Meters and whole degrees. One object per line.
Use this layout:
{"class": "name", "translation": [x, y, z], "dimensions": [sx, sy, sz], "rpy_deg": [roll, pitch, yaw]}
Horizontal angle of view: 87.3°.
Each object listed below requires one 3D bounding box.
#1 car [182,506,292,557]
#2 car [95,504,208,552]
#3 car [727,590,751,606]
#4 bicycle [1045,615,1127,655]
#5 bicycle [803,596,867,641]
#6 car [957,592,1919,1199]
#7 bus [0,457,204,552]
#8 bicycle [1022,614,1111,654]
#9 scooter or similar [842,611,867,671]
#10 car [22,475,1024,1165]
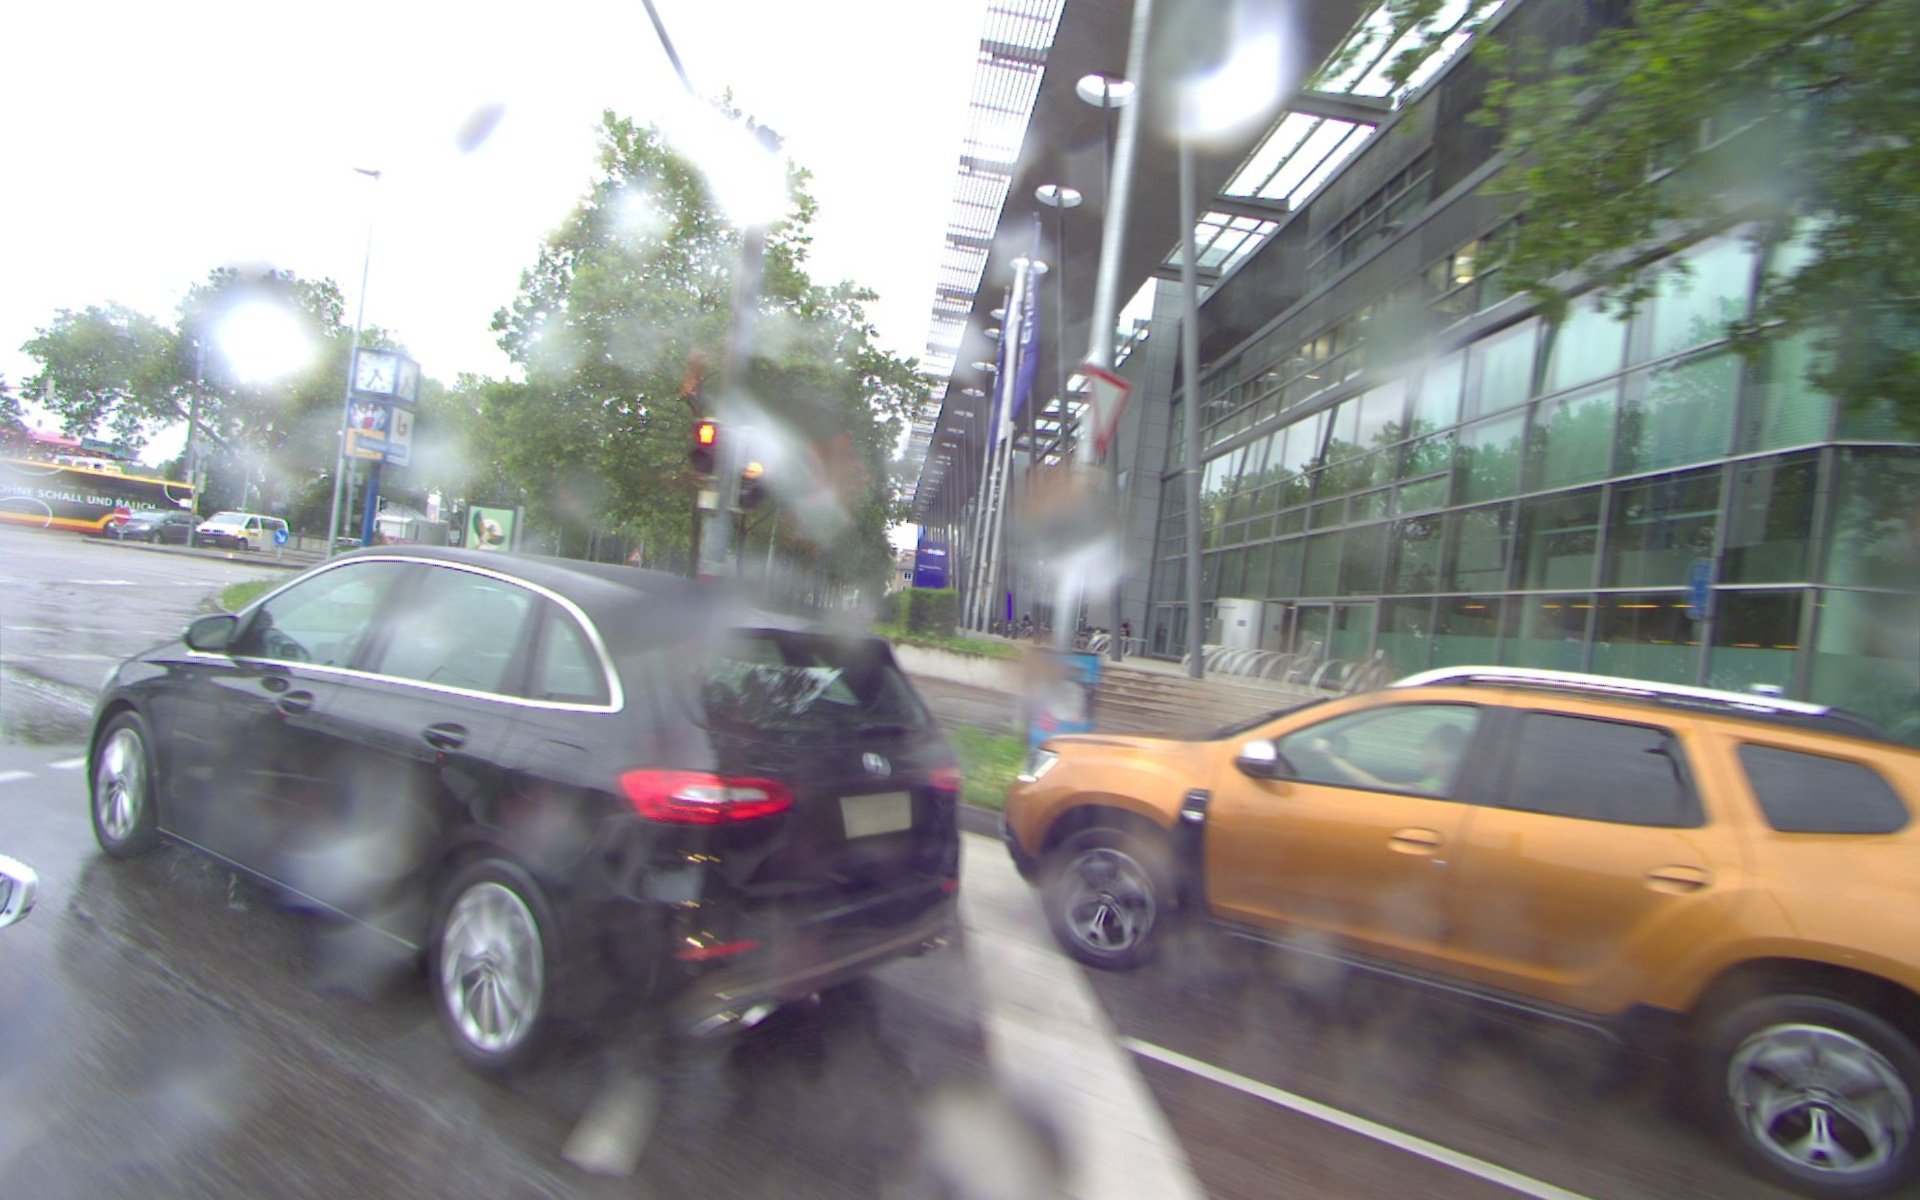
{"class": "car", "translation": [-35.011, -3.277, 48.888], "dimensions": [2.041, 1.871, 4.742], "rpy_deg": [7, -1, -5]}
{"class": "car", "translation": [-37.571, -3.299, 46.887], "dimensions": [1.900, 1.671, 4.338], "rpy_deg": [7, -1, -6]}
{"class": "car", "translation": [-24.695, -0.200, 112.689], "dimensions": [1.809, 1.571, 3.998], "rpy_deg": [7, -1, -3]}
{"class": "bicycle", "translation": [5.781, 1.622, 45.905], "dimensions": [3.657, 1.348, 1.182], "rpy_deg": [8, 0, -31]}
{"class": "bicycle", "translation": [-4.954, 0.734, 39.621], "dimensions": [2.636, 1.459, 0.803], "rpy_deg": [6, -2, 42]}
{"class": "car", "translation": [2.311, 1.087, 4.847], "dimensions": [4.100, 1.650, 1.904], "rpy_deg": [7, -2, 31]}
{"class": "bus", "translation": [-43.905, -4.804, 47.849], "dimensions": [3.219, 3.307, 12.272], "rpy_deg": [7, -1, 30]}
{"class": "bicycle", "translation": [5.063, 1.619, 47.936], "dimensions": [3.934, 1.348, 1.190], "rpy_deg": [8, 0, -10]}
{"class": "scooter or similar", "translation": [-2.209, 0.836, 20.991], "dimensions": [0.335, 1.152, 1.173], "rpy_deg": [7, 0, -8]}
{"class": "car", "translation": [-2.009, 0.479, 4.302], "dimensions": [4.020, 1.542, 1.873], "rpy_deg": [7, -1, 32]}
